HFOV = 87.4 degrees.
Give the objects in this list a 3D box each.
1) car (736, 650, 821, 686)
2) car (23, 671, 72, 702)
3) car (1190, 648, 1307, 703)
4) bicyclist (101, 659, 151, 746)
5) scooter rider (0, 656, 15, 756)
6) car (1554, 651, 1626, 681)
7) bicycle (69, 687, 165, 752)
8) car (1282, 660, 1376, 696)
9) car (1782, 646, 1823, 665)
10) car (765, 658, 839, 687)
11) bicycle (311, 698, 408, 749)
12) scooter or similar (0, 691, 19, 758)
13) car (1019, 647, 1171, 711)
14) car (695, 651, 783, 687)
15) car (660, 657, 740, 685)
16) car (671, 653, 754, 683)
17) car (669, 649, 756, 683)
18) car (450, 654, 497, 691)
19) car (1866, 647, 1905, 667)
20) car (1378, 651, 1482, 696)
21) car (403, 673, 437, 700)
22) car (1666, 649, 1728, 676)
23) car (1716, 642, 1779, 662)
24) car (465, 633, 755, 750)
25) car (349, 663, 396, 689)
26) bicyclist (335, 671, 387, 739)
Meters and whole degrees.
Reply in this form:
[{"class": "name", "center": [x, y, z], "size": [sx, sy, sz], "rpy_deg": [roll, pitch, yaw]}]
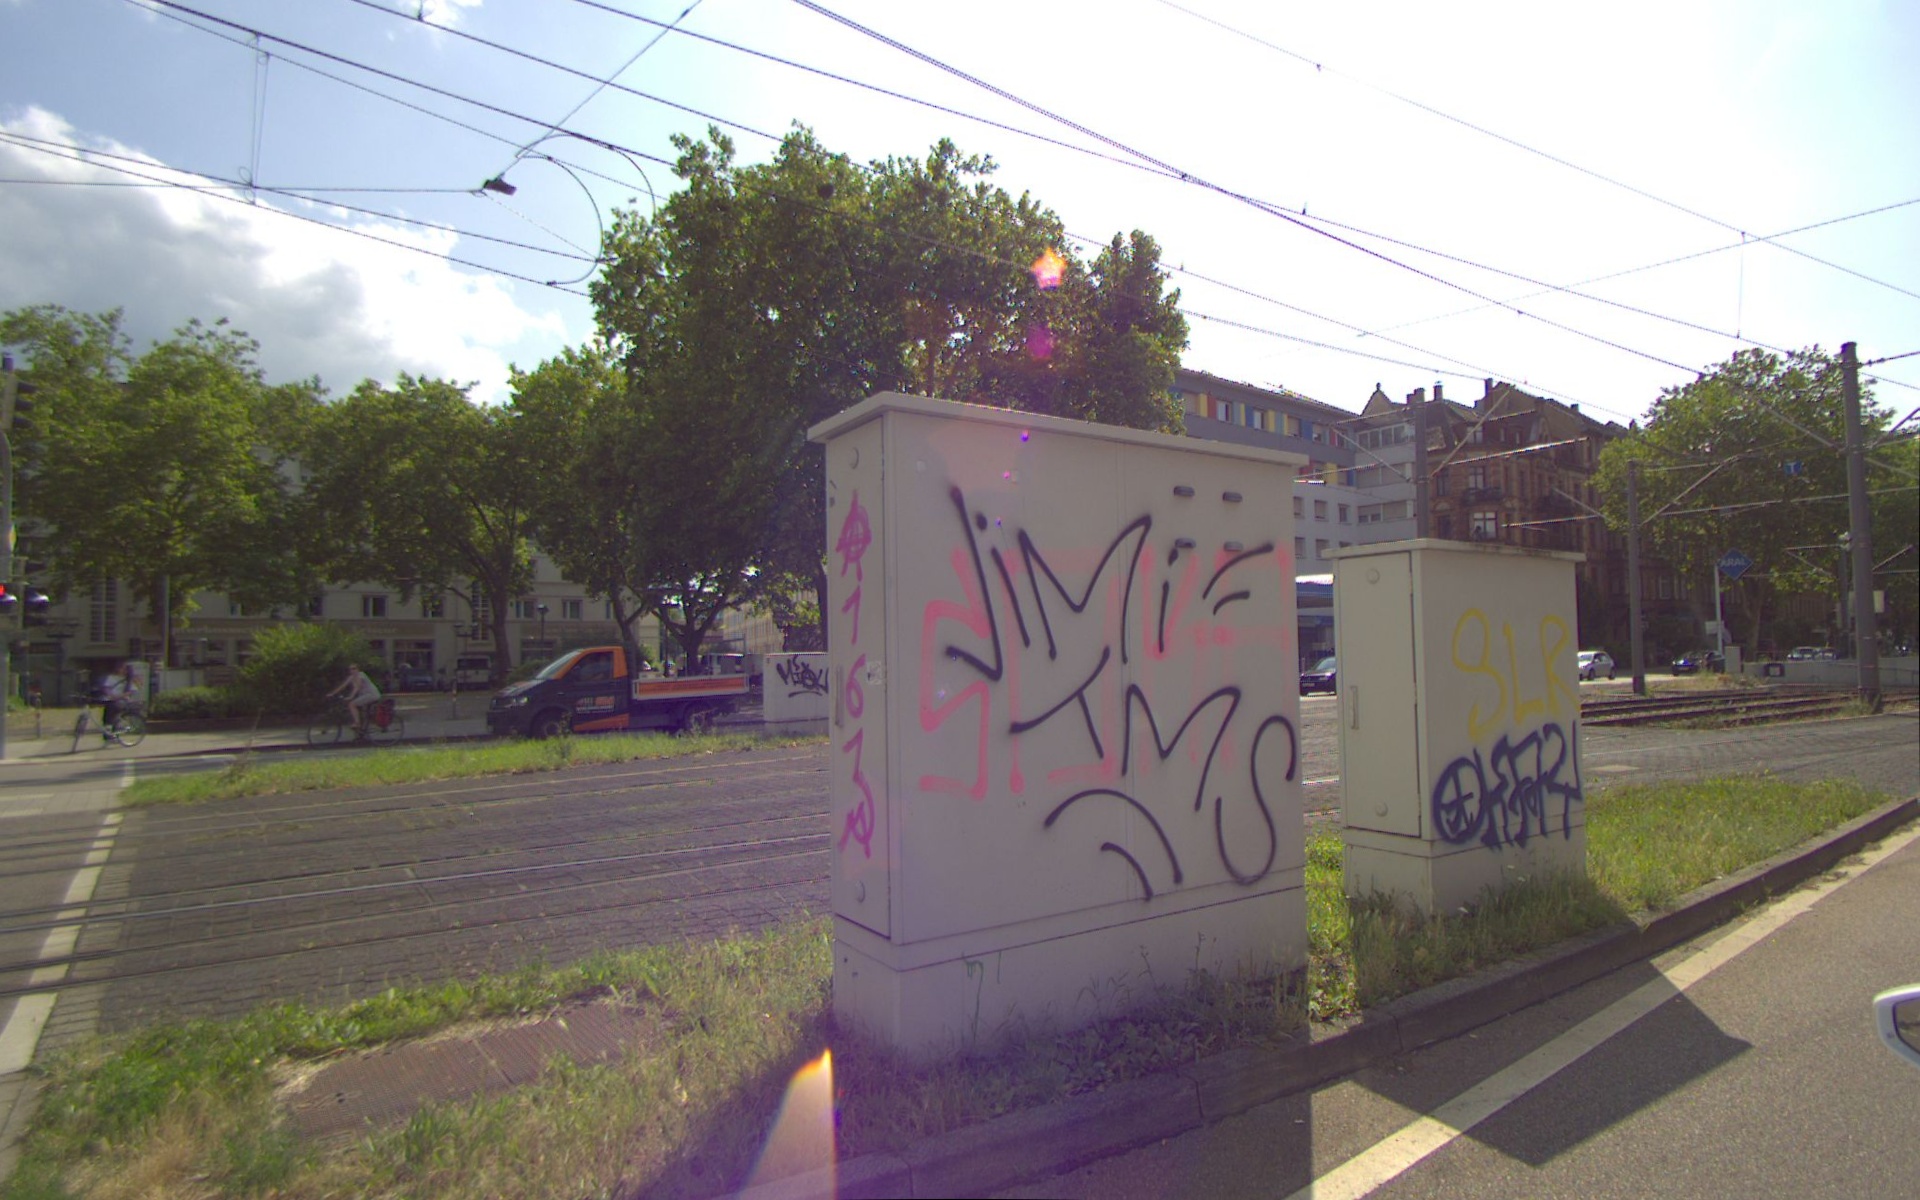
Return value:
[{"class": "car", "center": [-10.889, 4.051, 60.303], "size": [4.644, 1.959, 1.978], "rpy_deg": [2, -6, -40]}, {"class": "car", "center": [-51.912, 4.895, 57.198], "size": [1.836, 1.681, 4.038], "rpy_deg": [2, -4, -39]}, {"class": "car", "center": [9.764, 2.512, 33.879], "size": [4.108, 1.627, 1.699], "rpy_deg": [0, -3, -39]}, {"class": "bicyclist", "center": [-16.723, 2.046, 20.152], "size": [0.497, 1.690, 0.584], "rpy_deg": [0, -1, 1]}, {"class": "scooter rider", "center": [-17.930, 1.948, 18.393], "size": [0.668, 1.834, 0.543], "rpy_deg": [1, -2, -13]}, {"class": "car", "center": [32.830, 3.418, 52.285], "size": [4.365, 1.434, 1.710], "rpy_deg": [1, -5, -37]}, {"class": "bicycle", "center": [-16.730, 2.358, 19.977], "size": [0.497, 1.127, 1.631], "rpy_deg": [0, -1, 1]}, {"class": "car", "center": [13.761, 2.868, 37.381], "size": [3.600, 1.204, 1.605], "rpy_deg": [1, -4, -37]}, {"class": "car", "center": [62.937, 4.123, 74.999], "size": [3.458, 1.319, 1.487], "rpy_deg": [1, -6, -37]}, {"class": "car", "center": [-9.182, 4.208, 58.479], "size": [3.967, 1.539, 1.646], "rpy_deg": [2, -6, -40]}, {"class": "bicycle", "center": [-12.379, 2.528, 20.751], "size": [1.697, 0.933, 0.467], "rpy_deg": [1, -3, -31]}, {"class": "scooter or similar", "center": [-17.939, 2.284, 18.377], "size": [0.861, 1.187, 0.543], "rpy_deg": [1, -2, -13]}, {"class": "car", "center": [4.066, 2.293, 29.876], "size": [4.639, 1.627, 1.746], "rpy_deg": [0, -3, -39]}, {"class": "car", "center": [-14.107, 4.377, 64.366], "size": [5.217, 2.113, 1.976], "rpy_deg": [2, -7, -43]}, {"class": "car", "center": [-18.424, 5.005, 71.262], "size": [5.214, 1.773, 1.882], "rpy_deg": [2, -6, -42]}, {"class": "car", "center": [-16.891, 4.645, 68.620], "size": [5.214, 1.896, 1.977], "rpy_deg": [2, -6, -42]}, {"class": "car", "center": [-16.264, 4.325, 66.098], "size": [5.212, 2.113, 1.977], "rpy_deg": [2, -6, -41]}, {"class": "car", "center": [-29.481, 4.434, 60.808], "size": [2.229, 2.039, 3.904], "rpy_deg": [0, -6, -31]}, {"class": "car", "center": [87.776, 5.435, 95.276], "size": [3.688, 1.713, 1.710], "rpy_deg": [0, -5, -32]}, {"class": "car", "center": [19.766, 3.039, 42.162], "size": [5.032, 1.627, 1.932], "rpy_deg": [0, -3, -39]}, {"class": "car", "center": [-36.887, 5.953, 68.620], "size": [1.911, 1.688, 3.708], "rpy_deg": [0, -6, -31]}, {"class": "car", "center": [42.305, 3.556, 57.628], "size": [3.742, 1.435, 1.659], "rpy_deg": [1, -3, -34]}, {"class": "car", "center": [75.073, 4.968, 95.827], "size": [1.983, 1.943, 4.367], "rpy_deg": [2, -4, -39]}, {"class": "car", "center": [-7.140, 1.782, 20.846], "size": [5.290, 2.012, 2.059], "rpy_deg": [0, -3, -39]}, {"class": "car", "center": [-39.166, 5.050, 66.922], "size": [2.066, 1.681, 4.036], "rpy_deg": [2, -4, -41]}, {"class": "bicyclist", "center": [-12.370, 2.159, 20.774], "size": [0.899, 1.361, 0.467], "rpy_deg": [1, -3, -30]}]
